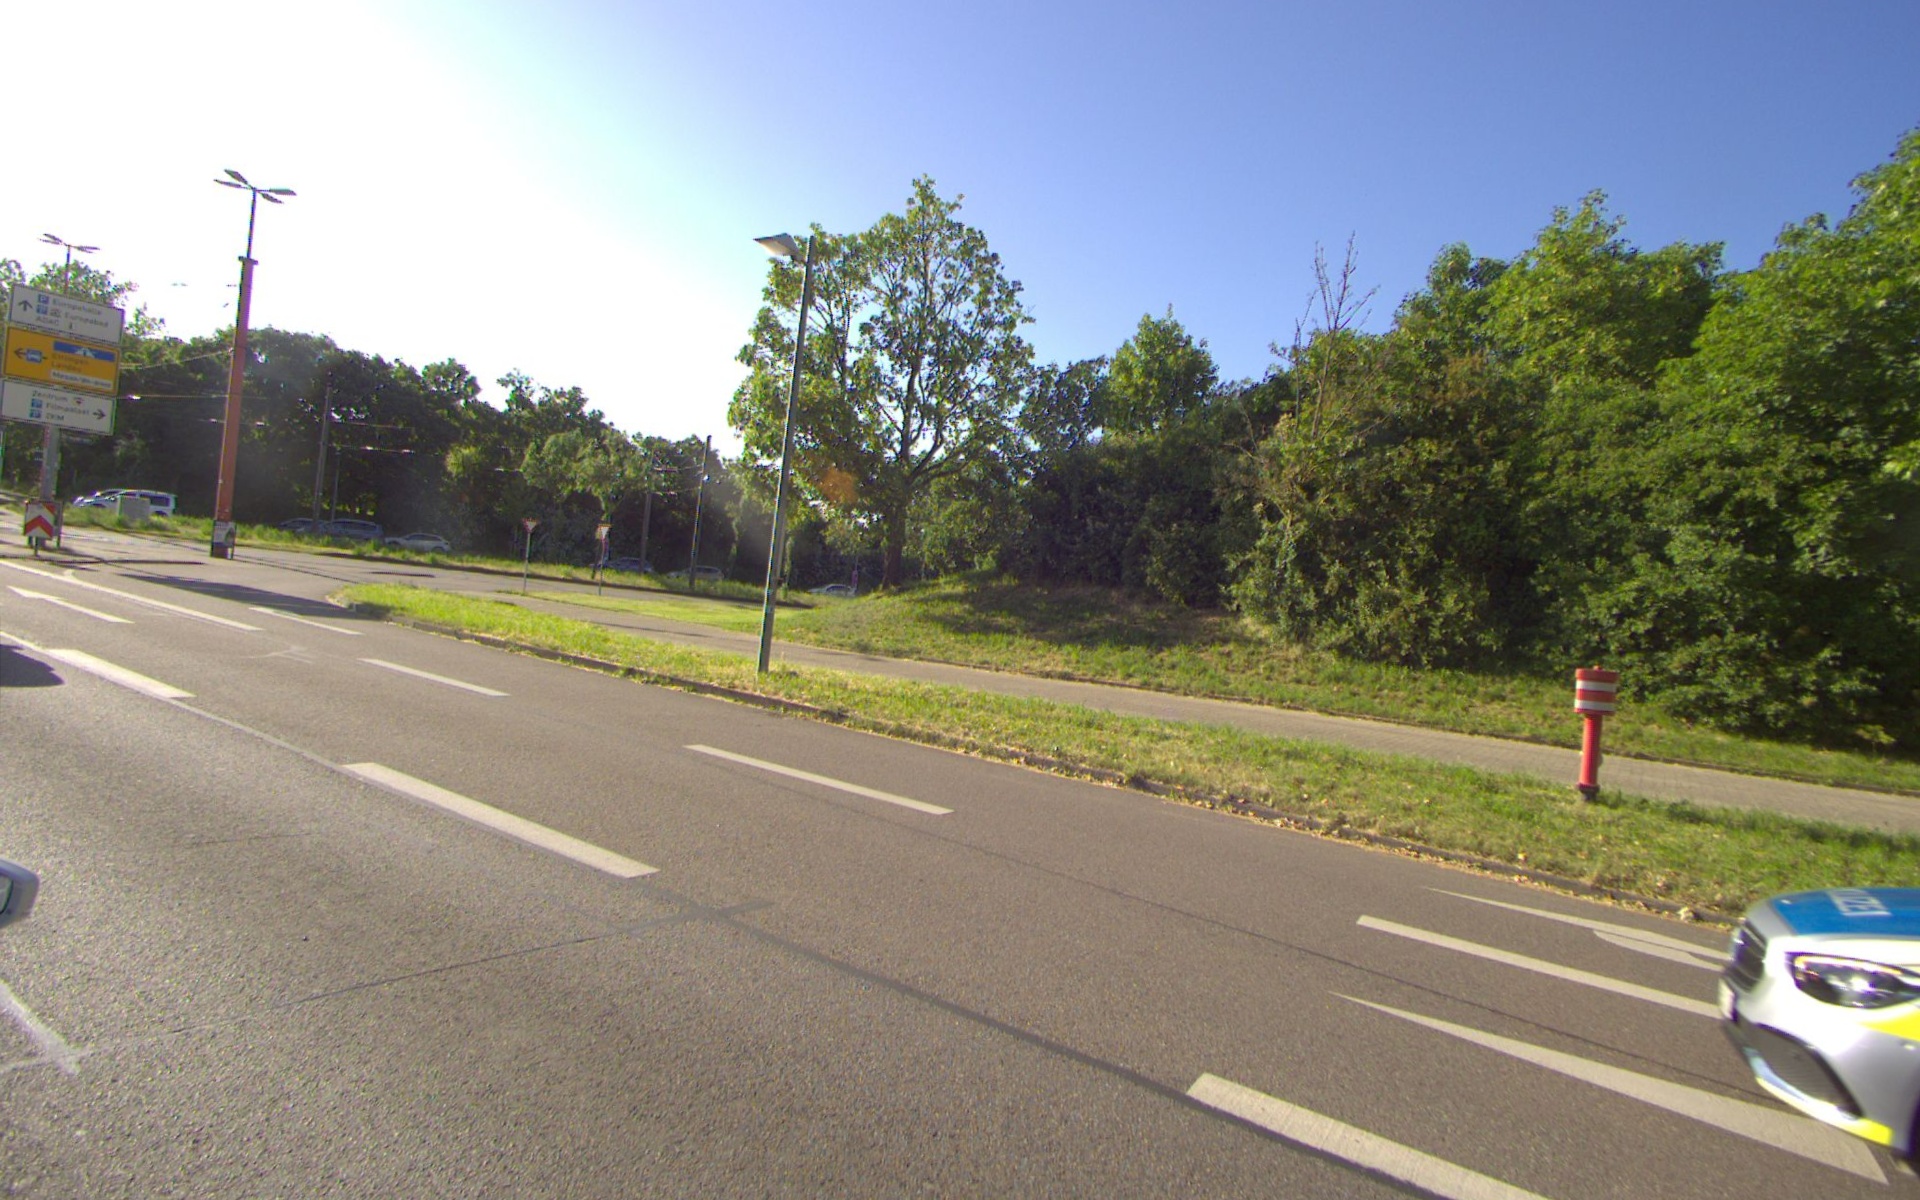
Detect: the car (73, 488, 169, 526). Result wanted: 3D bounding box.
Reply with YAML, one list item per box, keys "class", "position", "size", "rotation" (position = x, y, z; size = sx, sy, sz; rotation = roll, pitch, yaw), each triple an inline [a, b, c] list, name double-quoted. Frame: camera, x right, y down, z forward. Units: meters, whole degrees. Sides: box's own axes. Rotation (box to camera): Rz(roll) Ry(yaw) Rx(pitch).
- class: "car"
  position: [-48.466, -5.344, 58.210]
  size: [3.961, 1.493, 1.774]
  rotation: [8, -1, -32]

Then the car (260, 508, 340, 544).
- class: "car"
  position: [-41.166, -4.570, 62.827]
  size: [3.959, 1.579, 1.884]
  rotation: [8, -1, -31]

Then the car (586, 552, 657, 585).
- class: "car"
  position: [-23.540, -2.178, 70.027]
  size: [4.230, 1.646, 1.914]
  rotation: [8, -1, -31]

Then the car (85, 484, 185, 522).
- class: "car"
  position: [-45.900, -5.356, 56.085]
  size: [3.960, 1.353, 1.715]
  rotation: [8, -1, -32]

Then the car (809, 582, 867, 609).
- class: "car"
  position: [-9.544, -0.344, 78.469]
  size: [3.958, 1.600, 1.858]
  rotation: [8, -1, -30]

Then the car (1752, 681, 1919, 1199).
- class: "car"
  position: [5.173, 1.394, 2.759]
  size: [4.430, 1.652, 1.894]
  rotation: [7, -1, 35]

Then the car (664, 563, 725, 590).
- class: "car"
  position: [-20.104, -1.777, 76.245]
  size: [3.959, 1.546, 1.846]
  rotation: [8, -1, -31]

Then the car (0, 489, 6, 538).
- class: "car"
  position: [-11.103, -0.560, 9.845]
  size: [3.445, 1.512, 1.641]
  rotation: [7, -1, 32]

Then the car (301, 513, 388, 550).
- class: "car"
  position: [-37.382, -4.124, 61.198]
  size: [4.323, 1.577, 1.856]
  rotation: [8, -1, -33]

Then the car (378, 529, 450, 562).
- class: "car"
  position: [-35.734, -3.558, 65.847]
  size: [3.959, 1.513, 1.846]
  rotation: [8, -1, -31]
